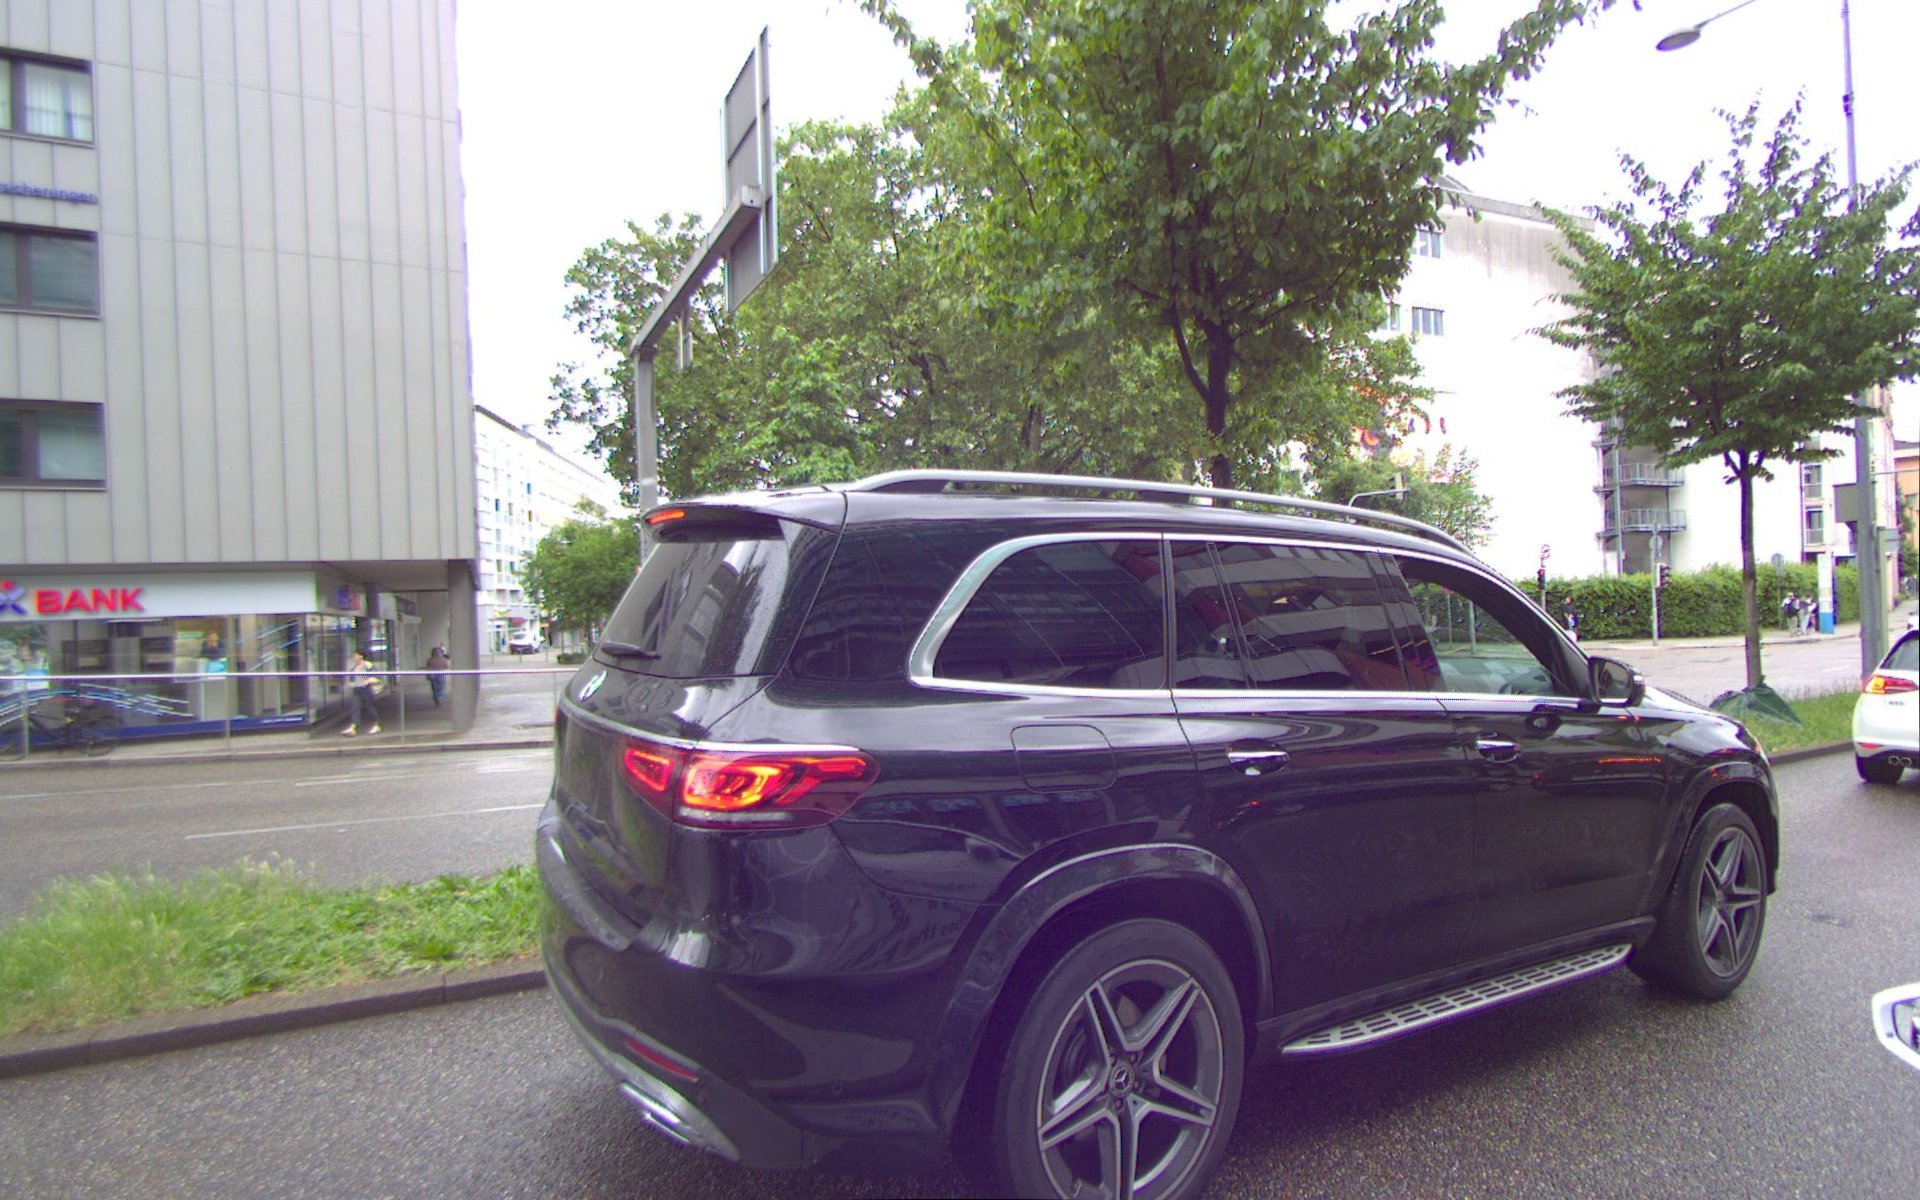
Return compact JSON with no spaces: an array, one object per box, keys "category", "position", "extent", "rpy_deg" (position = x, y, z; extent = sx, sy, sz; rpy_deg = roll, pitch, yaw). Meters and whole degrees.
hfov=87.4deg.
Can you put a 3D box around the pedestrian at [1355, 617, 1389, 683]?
[{"category":"pedestrian","position":[10.812,1.291,26.342],"extent":[0.572,1.684,0.554],"rpy_deg":[-2,0,-30]}]

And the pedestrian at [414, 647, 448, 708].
[{"category":"pedestrian","position":[-15.223,2.204,28.906],"extent":[0.719,1.719,0.782],"rpy_deg":[2,-3,-37]}]

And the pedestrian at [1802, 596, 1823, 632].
[{"category":"pedestrian","position":[38.547,0.626,45.422],"extent":[0.522,1.620,0.576],"rpy_deg":[2,-1,-36]}]

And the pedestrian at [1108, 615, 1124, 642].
[{"category":"pedestrian","position":[9.800,1.804,62.984],"extent":[0.723,1.664,0.635],"rpy_deg":[2,-1,-23]}]

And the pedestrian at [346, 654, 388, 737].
[{"category":"pedestrian","position":[-12.394,1.978,20.991],"extent":[0.630,1.659,0.782],"rpy_deg":[2,-1,-37]}]

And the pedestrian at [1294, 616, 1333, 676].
[{"category":"pedestrian","position":[10.914,1.406,31.025],"extent":[0.698,1.807,0.922],"rpy_deg":[2,-1,-19]}]

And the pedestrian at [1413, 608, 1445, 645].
[{"category":"pedestrian","position":[20.816,1.164,44.555],"extent":[0.677,1.599,1.055],"rpy_deg":[2,-1,-34]}]

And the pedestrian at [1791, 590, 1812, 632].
[{"category":"pedestrian","position":[36.009,0.488,42.996],"extent":[0.559,1.771,0.535],"rpy_deg":[2,-1,-35]}]

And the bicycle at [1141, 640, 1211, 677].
[{"category":"bicycle","position":[6.153,1.667,28.653],"extent":[1.901,1.013,0.617],"rpy_deg":[0,-2,6]}]

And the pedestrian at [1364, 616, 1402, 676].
[{"category":"pedestrian","position":[12.076,1.295,28.687],"extent":[0.620,1.684,0.749],"rpy_deg":[-2,0,-30]}]

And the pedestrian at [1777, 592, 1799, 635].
[{"category":"pedestrian","position":[34.694,0.585,42.080],"extent":[0.741,1.771,0.535],"rpy_deg":[2,-1,-38]}]

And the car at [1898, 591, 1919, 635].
[{"category":"car","position":[34.991,0.442,35.730],"extent":[3.571,1.506,1.565],"rpy_deg":[0,1,-33]}]

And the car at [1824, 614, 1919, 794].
[{"category":"car","position":[9.540,0.868,8.960],"extent":[3.800,1.448,1.768],"rpy_deg":[0,0,-33]}]

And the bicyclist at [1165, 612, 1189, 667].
[{"category":"bicyclist","position":[6.187,1.127,28.679],"extent":[0.597,1.550,0.634],"rpy_deg":[0,-2,7]}]

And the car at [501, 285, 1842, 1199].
[{"category":"car","position":[1.136,0.511,3.806],"extent":[5.016,1.895,1.901],"rpy_deg":[3,-1,-31]}]

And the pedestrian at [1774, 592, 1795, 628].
[{"category":"pedestrian","position":[37.341,0.462,45.503],"extent":[0.522,1.620,0.576],"rpy_deg":[2,-1,-36]}]

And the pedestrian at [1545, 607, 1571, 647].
[{"category":"pedestrian","position":[24.991,1.125,41.954],"extent":[0.633,1.664,0.726],"rpy_deg":[2,-1,-37]}]
